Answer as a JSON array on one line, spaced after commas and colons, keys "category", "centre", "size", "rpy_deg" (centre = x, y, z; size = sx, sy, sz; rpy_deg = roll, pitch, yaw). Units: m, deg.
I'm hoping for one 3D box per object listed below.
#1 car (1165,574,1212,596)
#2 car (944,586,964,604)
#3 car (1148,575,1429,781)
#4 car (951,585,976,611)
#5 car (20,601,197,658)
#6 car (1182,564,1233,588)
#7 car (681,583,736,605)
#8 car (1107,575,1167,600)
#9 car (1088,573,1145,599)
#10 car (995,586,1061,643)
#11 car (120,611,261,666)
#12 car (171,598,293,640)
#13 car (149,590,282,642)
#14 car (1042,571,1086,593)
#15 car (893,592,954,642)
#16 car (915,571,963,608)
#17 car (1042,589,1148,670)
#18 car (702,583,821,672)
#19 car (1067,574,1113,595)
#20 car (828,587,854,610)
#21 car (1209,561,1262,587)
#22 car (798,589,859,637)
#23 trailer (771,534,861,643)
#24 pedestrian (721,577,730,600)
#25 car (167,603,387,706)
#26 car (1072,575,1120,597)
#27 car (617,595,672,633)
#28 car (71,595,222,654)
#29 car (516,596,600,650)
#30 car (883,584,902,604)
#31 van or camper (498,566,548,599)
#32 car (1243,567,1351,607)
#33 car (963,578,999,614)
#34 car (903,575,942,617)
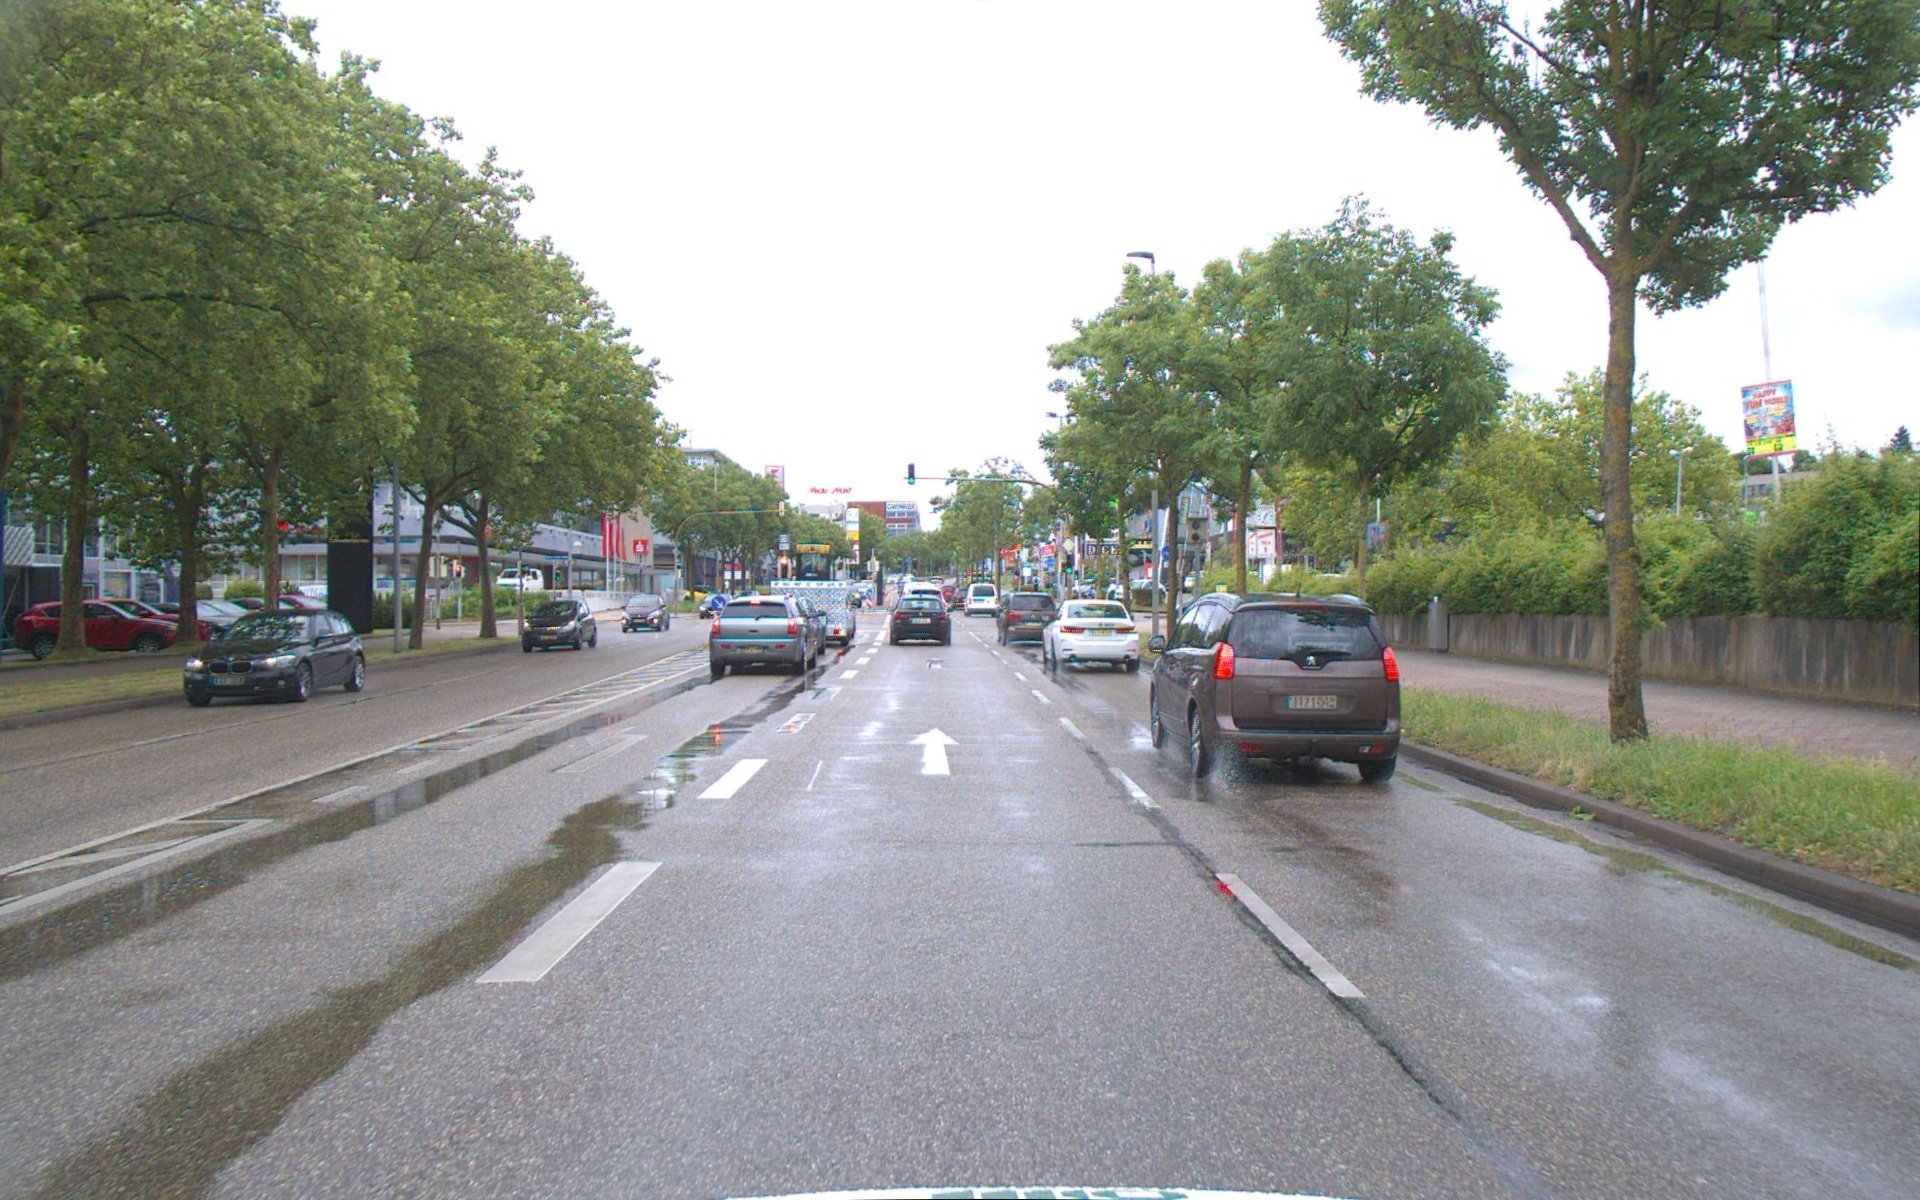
[{"category": "car", "centre": [18.886, -1.273, 136.578], "size": [3.940, 1.750, 1.609], "rpy_deg": [-1, 1, -41]}, {"category": "car", "centre": [-0.531, -0.392, 139.671], "size": [1.661, 1.468, 3.988], "rpy_deg": [-1, -1, -1]}, {"category": "car", "centre": [2.935, 0.624, 15.725], "size": [1.691, 1.652, 4.470], "rpy_deg": [-1, 0, -1]}, {"category": "car", "centre": [0.207, -0.136, 111.859], "size": [1.650, 1.713, 3.402], "rpy_deg": [1, 0, -1]}, {"category": "car", "centre": [-25.025, 0.862, 48.792], "size": [4.494, 1.624, 1.985], "rpy_deg": [0, 0, -24]}, {"category": "car", "centre": [19.471, -1.878, 129.916], "size": [4.117, 1.802, 1.712], "rpy_deg": [-1, 1, -41]}, {"category": "car", "centre": [-19.282, -0.446, 126.791], "size": [3.916, 1.579, 1.895], "rpy_deg": [-1, 1, 33]}, {"category": "car", "centre": [11.669, -0.818, 108.691], "size": [1.896, 1.604, 4.266], "rpy_deg": [0, 1, 40]}, {"category": "car", "centre": [11.423, -1.037, 120.809], "size": [3.992, 1.691, 1.953], "rpy_deg": [-4, 2, -41]}, {"category": "car", "centre": [2.072, 0.414, 51.130], "size": [1.764, 1.614, 4.450], "rpy_deg": [1, 1, -1]}, {"category": "car", "centre": [-25.837, 1.256, 55.665], "size": [4.165, 1.623, 1.984], "rpy_deg": [-2, 1, -25]}, {"category": "car", "centre": [-26.347, 0.679, 59.954], "size": [3.668, 1.415, 1.688], "rpy_deg": [-1, 1, -6]}, {"category": "car", "centre": [-26.301, 0.526, 58.549], "size": [4.165, 1.623, 1.984], "rpy_deg": [-3, 1, -25]}, {"category": "car", "centre": [9.809, -1.691, 156.015], "size": [4.026, 1.938, 1.800], "rpy_deg": [-1, 1, 0]}, {"category": "car", "centre": [-1.113, 0.482, 49.885], "size": [1.746, 1.422, 3.999], "rpy_deg": [0, 0, -2]}, {"category": "car", "centre": [-0.888, -0.426, 66.790], "size": [1.649, 1.401, 3.996], "rpy_deg": [-1, 1, -5]}, {"category": "car", "centre": [2.784, 0.572, 35.024], "size": [1.764, 1.571, 4.619], "rpy_deg": [1, 0, -1]}, {"category": "car", "centre": [-3.899, 0.496, 33.209], "size": [1.868, 1.606, 4.879], "rpy_deg": [-1, 0, -1]}, {"category": "car", "centre": [10.577, -1.263, 134.235], "size": [3.567, 1.562, 1.770], "rpy_deg": [-2, 1, -41]}, {"category": "car", "centre": [-7.654, -0.109, 106.047], "size": [1.649, 1.401, 3.996], "rpy_deg": [-1, 1, -5]}, {"category": "car", "centre": [20.027, -1.896, 120.258], "size": [4.124, 1.802, 1.709], "rpy_deg": [-1, 1, -45]}, {"category": "car", "centre": [-4.293, 0.389, 54.460], "size": [1.730, 1.484, 4.779], "rpy_deg": [-1, 0, -1]}, {"category": "trailer", "centre": [-4.122, -0.314, 48.136], "size": [2.325, 2.947, 5.543], "rpy_deg": [-1, 0, -3]}, {"category": "pedestrian", "centre": [-23.418, -1.131, 165.034], "size": [0.842, 2.257, 0.845], "rpy_deg": [0, 1, -5]}, {"category": "car", "centre": [-10.832, 0.804, 26.604], "size": [1.701, 1.454, 4.536], "rpy_deg": [-1, 0, -1]}, {"category": "car", "centre": [10.418, -1.078, 126.529], "size": [3.567, 1.563, 1.619], "rpy_deg": [-1, 1, -41]}, {"category": "car", "centre": [-13.316, 0.572, 69.983], "size": [1.676, 1.490, 4.083], "rpy_deg": [-1, 0, -3]}, {"category": "car", "centre": [-25.572, 0.761, 52.148], "size": [4.165, 1.682, 1.997], "rpy_deg": [-2, 0, -25]}, {"category": "car", "centre": [-11.990, 0.663, 49.578], "size": [1.676, 1.490, 4.083], "rpy_deg": [-1, 0, -3]}, {"category": "car", "centre": [-7.250, -0.639, 177.664], "size": [1.953, 2.049, 3.999], "rpy_deg": [1, 0, -1]}, {"category": "van or camper", "centre": [-27.692, -1.100, 104.954], "size": [1.953, 2.001, 4.786], "rpy_deg": [1, 0, -2]}, {"category": "car", "centre": [13.214, -0.518, 64.999], "size": [3.905, 1.467, 1.655], "rpy_deg": [-1, 1, 1]}, {"category": "car", "centre": [1.145, -0.242, 91.131], "size": [1.746, 1.899, 3.999], "rpy_deg": [-1, 0, -2]}, {"category": "car", "centre": [-1.954, -0.187, 85.571], "size": [1.953, 2.049, 3.999], "rpy_deg": [1, 0, -1]}]
